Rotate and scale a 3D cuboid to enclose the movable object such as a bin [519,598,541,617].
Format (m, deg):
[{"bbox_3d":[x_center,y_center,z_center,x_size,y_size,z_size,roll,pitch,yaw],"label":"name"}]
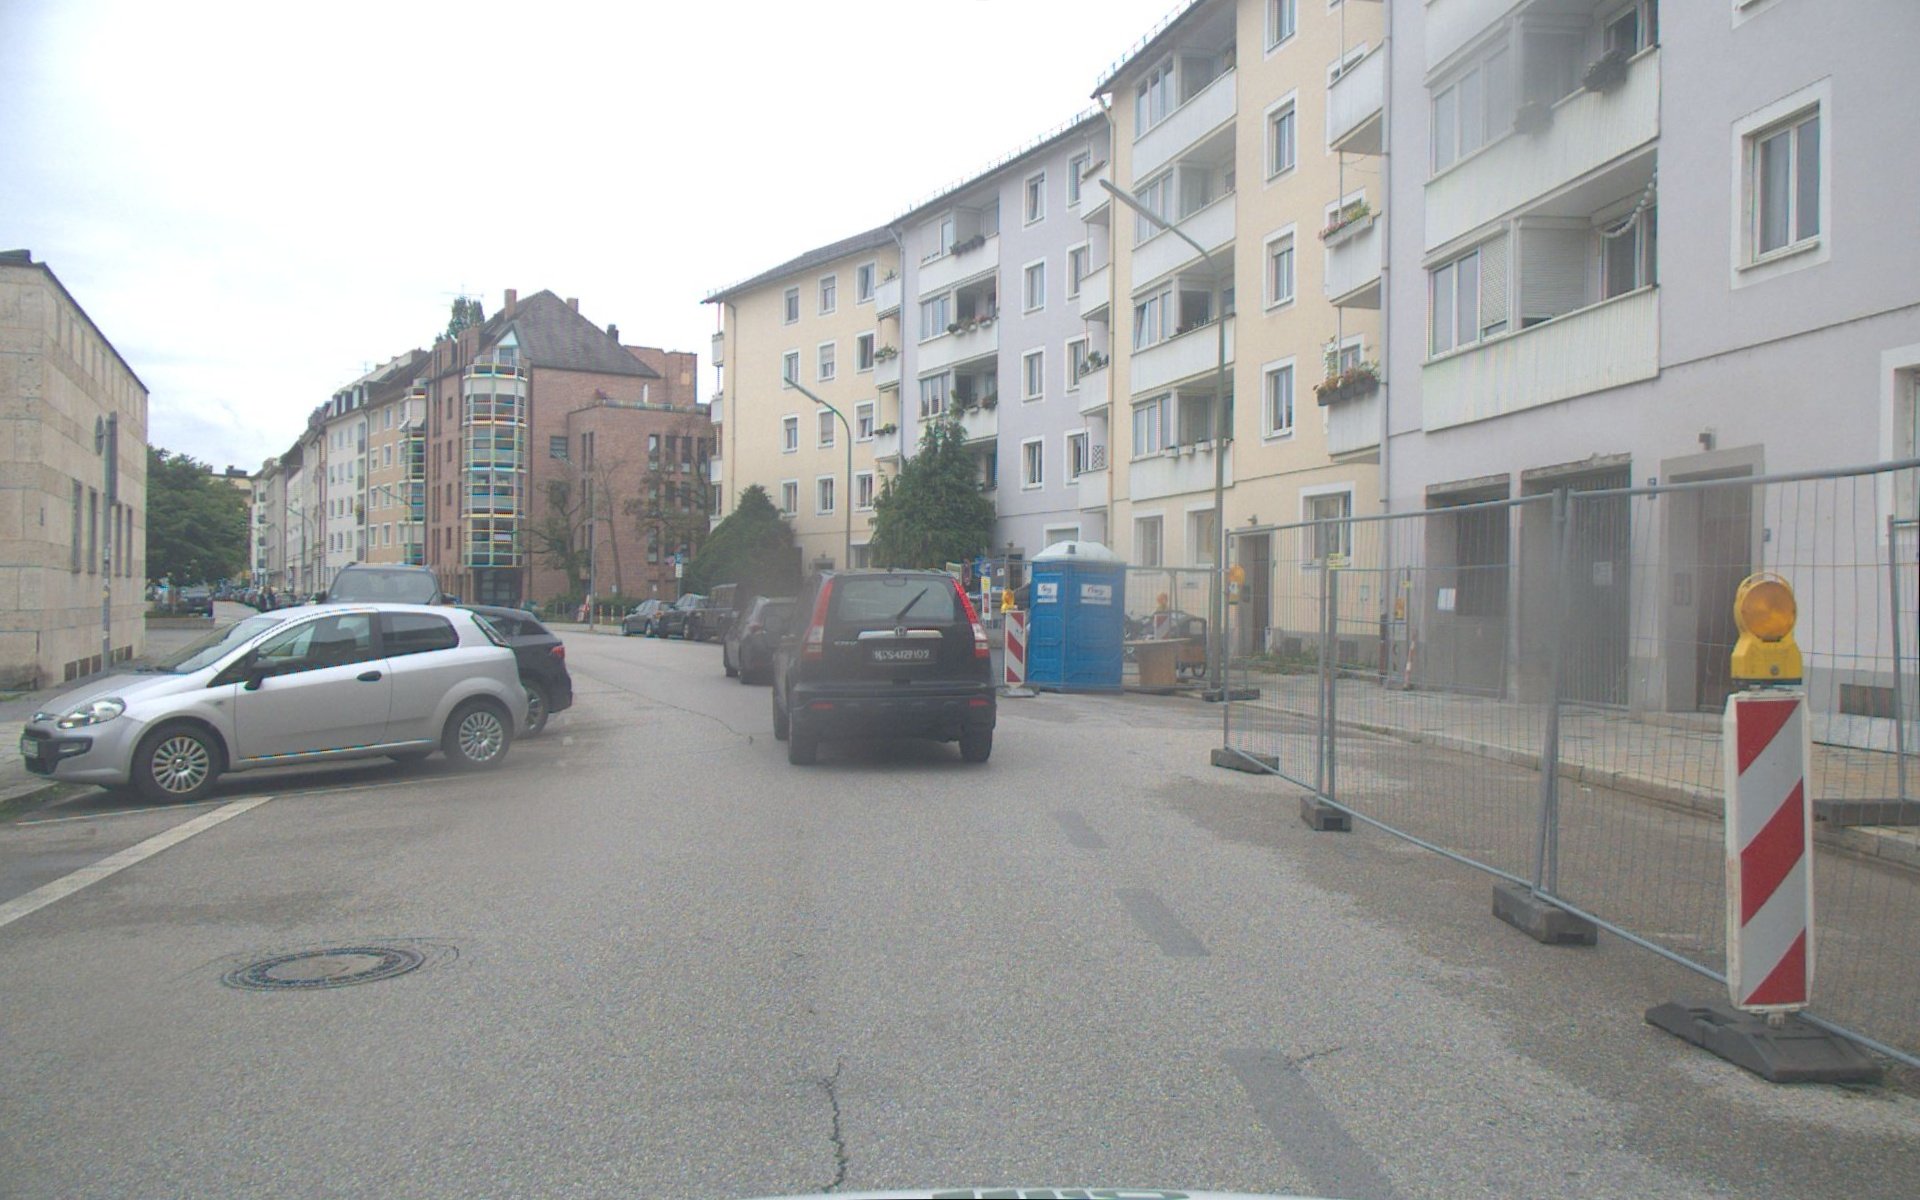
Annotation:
[{"bbox_3d":[-25.943,0.463,99.760,0.953,1.104,1.969,1,0,-24],"label":"movable object such as a bin"}]

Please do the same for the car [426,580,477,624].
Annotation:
[{"bbox_3d":[-23.596,0.074,76.647,1.689,1.980,3.967,1,0,-26],"label":"car"}]

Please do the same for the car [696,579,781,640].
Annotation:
[{"bbox_3d":[-7.487,0.300,55.587,1.702,1.910,3.968,1,0,-25],"label":"car"}]

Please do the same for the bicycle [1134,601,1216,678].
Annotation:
[{"bbox_3d":[4.142,0.738,32.072,0.950,1.413,2.560,1,0,-7],"label":"bicycle"}]

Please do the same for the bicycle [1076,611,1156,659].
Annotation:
[{"bbox_3d":[3.761,0.847,39.917,1.834,1.110,0.563,1,0,-14],"label":"bicycle"}]

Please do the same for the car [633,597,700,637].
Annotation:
[{"bbox_3d":[-11.310,0.623,63.581,1.676,1.413,3.573,1,1,-25],"label":"car"}]

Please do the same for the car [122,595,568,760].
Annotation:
[{"bbox_3d":[-6.318,0.730,17.249,4.049,1.507,1.660,1,0,-41],"label":"car"}]

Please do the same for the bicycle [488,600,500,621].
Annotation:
[{"bbox_3d":[-29.579,0.677,104.988,0.543,1.311,1.748,1,0,-21],"label":"bicycle"}]

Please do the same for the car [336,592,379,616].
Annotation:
[{"bbox_3d":[-39.681,0.261,108.889,1.791,1.498,4.069,1,1,-34],"label":"car"}]

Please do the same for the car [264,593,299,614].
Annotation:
[{"bbox_3d":[-53.282,0.281,129.876,1.791,1.498,4.069,1,1,-34],"label":"car"}]

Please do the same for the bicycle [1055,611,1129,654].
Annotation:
[{"bbox_3d":[3.489,0.861,43.625,1.834,1.110,0.644,1,0,-14],"label":"bicycle"}]

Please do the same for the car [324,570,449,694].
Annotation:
[{"bbox_3d":[-8.818,0.439,25.620,1.653,1.737,4.490,1,0,-18],"label":"car"}]

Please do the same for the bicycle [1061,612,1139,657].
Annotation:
[{"bbox_3d":[3.519,0.870,41.571,1.834,1.110,0.644,1,0,-14],"label":"bicycle"}]

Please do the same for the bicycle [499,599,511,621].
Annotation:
[{"bbox_3d":[-29.009,0.631,105.360,0.543,1.311,1.748,1,0,-21],"label":"bicycle"}]

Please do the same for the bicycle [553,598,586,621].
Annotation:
[{"bbox_3d":[-22.331,0.547,94.595,1.730,1.311,0.549,1,0,-23],"label":"bicycle"}]

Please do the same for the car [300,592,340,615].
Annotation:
[{"bbox_3d":[-45.039,0.254,116.389,1.791,1.498,4.069,1,1,-34],"label":"car"}]

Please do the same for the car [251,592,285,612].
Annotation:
[{"bbox_3d":[-56.050,0.131,133.885,1.791,1.498,4.069,1,1,-34],"label":"car"}]

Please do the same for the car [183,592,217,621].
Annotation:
[{"bbox_3d":[-49.611,0.410,107.966,1.893,1.777,4.738,1,0,-26],"label":"car"}]

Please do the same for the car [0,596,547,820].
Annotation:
[{"bbox_3d":[-5.771,0.826,14.067,4.053,1.507,1.658,-3,-1,-43],"label":"car"}]

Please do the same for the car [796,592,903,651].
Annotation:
[{"bbox_3d":[-3.196,0.587,46.973,1.702,1.509,3.968,1,1,-25],"label":"car"}]

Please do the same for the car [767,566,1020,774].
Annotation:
[{"bbox_3d":[-0.761,0.566,15.470,1.856,1.676,3.982,1,0,-10],"label":"car"}]

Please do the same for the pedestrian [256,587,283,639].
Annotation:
[{"bbox_3d":[-23.567,0.427,56.450,0.740,1.732,0.921,1,0,-20],"label":"pedestrian"}]

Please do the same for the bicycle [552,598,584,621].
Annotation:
[{"bbox_3d":[-22.572,0.568,95.213,1.730,1.311,0.549,1,0,-23],"label":"bicycle"}]

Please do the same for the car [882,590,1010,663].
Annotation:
[{"bbox_3d":[-0.375,0.576,37.589,1.698,1.509,3.978,1,0,-19],"label":"car"}]

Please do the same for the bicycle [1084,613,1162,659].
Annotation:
[{"bbox_3d":[4.018,0.886,40.818,1.834,1.110,0.563,1,0,-14],"label":"bicycle"}]

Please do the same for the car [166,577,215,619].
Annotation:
[{"bbox_3d":[-34.135,-0.089,73.318,1.893,1.777,4.738,1,0,-26],"label":"car"}]

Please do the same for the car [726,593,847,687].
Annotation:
[{"bbox_3d":[-3.104,0.646,28.939,1.650,1.507,4.073,1,0,-13],"label":"car"}]
